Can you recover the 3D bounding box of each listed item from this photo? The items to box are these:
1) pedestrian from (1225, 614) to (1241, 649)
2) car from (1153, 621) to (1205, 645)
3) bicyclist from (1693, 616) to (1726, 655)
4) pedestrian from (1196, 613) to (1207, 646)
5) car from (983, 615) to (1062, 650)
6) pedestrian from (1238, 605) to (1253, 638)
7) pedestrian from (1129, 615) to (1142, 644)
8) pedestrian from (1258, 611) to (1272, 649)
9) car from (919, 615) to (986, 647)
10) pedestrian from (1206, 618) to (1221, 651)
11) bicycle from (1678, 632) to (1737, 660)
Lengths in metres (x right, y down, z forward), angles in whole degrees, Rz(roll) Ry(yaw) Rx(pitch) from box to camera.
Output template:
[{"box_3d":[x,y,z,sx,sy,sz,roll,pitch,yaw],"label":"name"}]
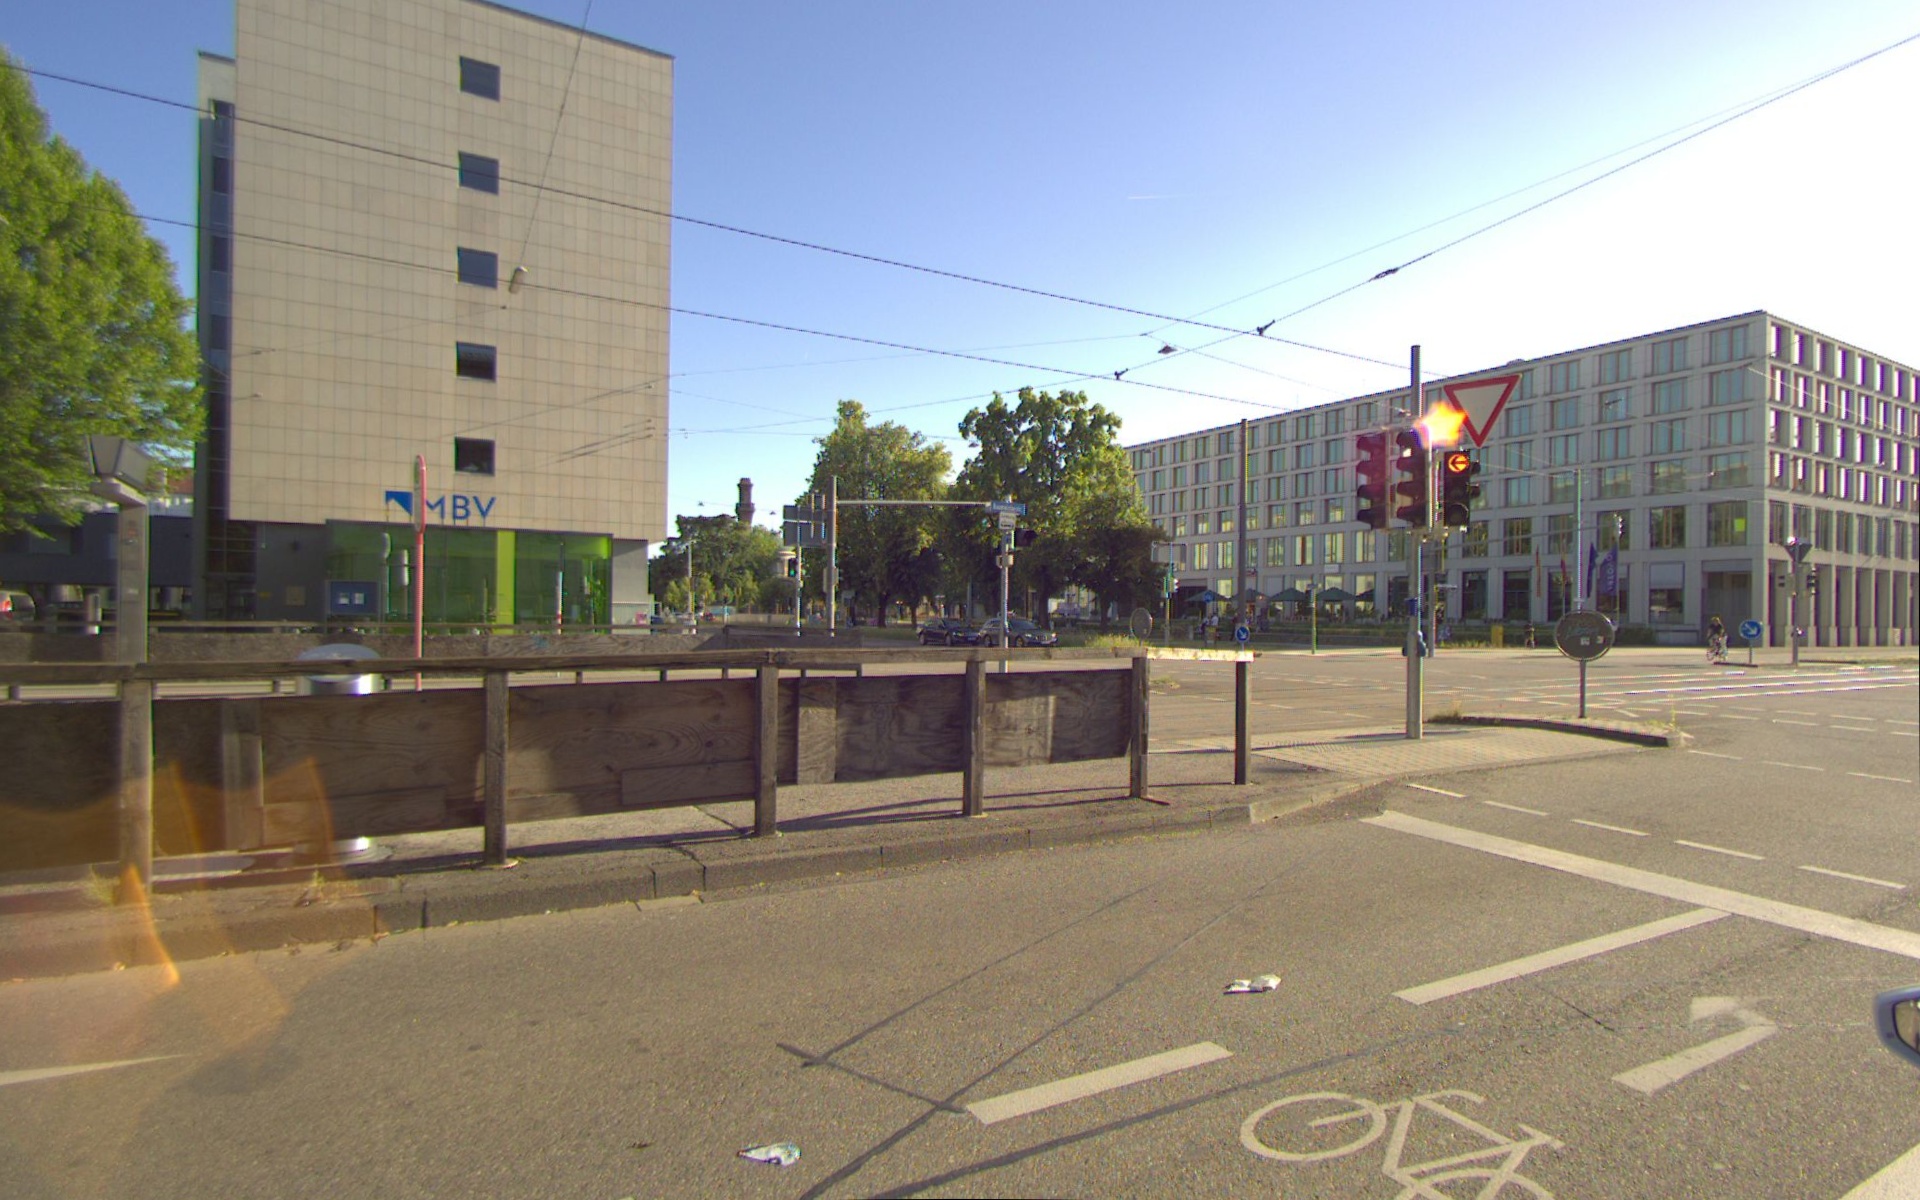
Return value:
[{"box_3d":[16.687,1.897,61.435,0.644,2.095,0.645,5,-3,-36],"label":"pedestrian"},{"box_3d":[13.724,2.059,63.158,1.454,1.457,3.169,1,-1,-31],"label":"car"},{"box_3d":[31.819,1.502,42.650,0.812,1.663,0.872,1,-1,-29],"label":"bicyclist"},{"box_3d":[15.001,1.846,62.429,0.483,2.040,0.493,1,-1,-17],"label":"pedestrian"},{"box_3d":[2.887,1.503,47.546,1.708,1.595,4.140,1,-1,-31],"label":"car"},{"box_3d":[17.639,1.341,61.979,0.793,2.040,0.526,1,-1,-36],"label":"pedestrian"},{"box_3d":[12.042,2.021,68.915,0.672,1.928,0.560,1,-1,-21],"label":"pedestrian"},{"box_3d":[18.576,1.824,61.204,0.528,2.310,0.565,1,-1,-36],"label":"pedestrian"},{"box_3d":[-0.453,1.615,53.177,1.801,1.595,3.967,0,0,-31],"label":"car"},{"box_3d":[15.801,2.160,62.652,0.793,2.040,0.526,1,-1,-36],"label":"pedestrian"},{"box_3d":[31.715,1.958,42.610,2.976,1.136,0.871,1,-1,-29],"label":"bicycle"}]
